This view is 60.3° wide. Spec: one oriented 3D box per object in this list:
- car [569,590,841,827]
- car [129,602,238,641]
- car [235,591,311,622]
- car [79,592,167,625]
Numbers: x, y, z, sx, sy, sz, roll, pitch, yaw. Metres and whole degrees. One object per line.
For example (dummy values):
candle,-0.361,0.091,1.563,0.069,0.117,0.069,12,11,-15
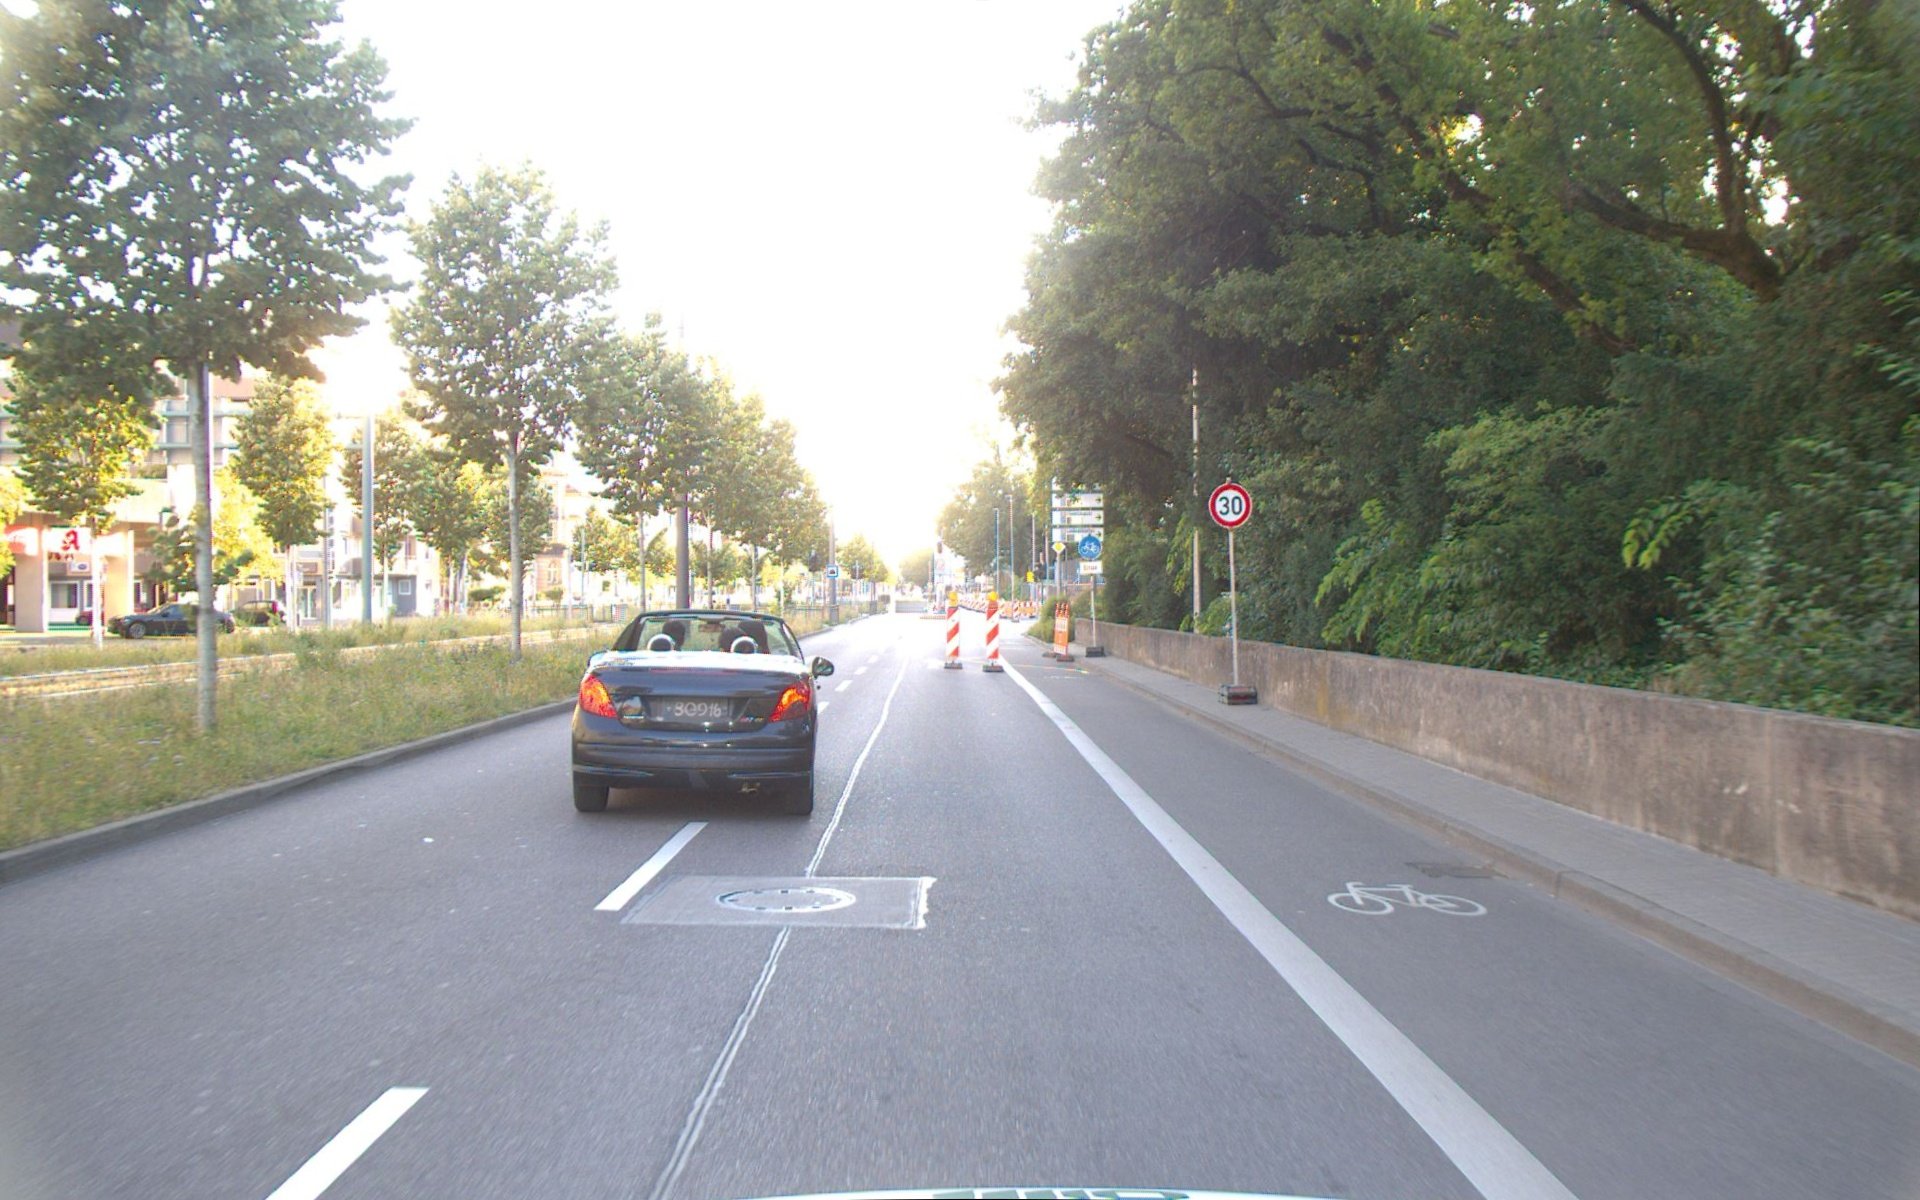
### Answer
car,-1.871,0.697,12.602,1.686,1.475,3.895,2,0,-7
car,-31.880,0.866,67.941,3.701,1.475,1.716,-1,-1,-44
car,-43.256,0.418,104.207,3.854,1.878,2.191,-1,0,-2
car,-51.659,0.513,102.106,4.242,1.800,2.166,-3,2,-3
